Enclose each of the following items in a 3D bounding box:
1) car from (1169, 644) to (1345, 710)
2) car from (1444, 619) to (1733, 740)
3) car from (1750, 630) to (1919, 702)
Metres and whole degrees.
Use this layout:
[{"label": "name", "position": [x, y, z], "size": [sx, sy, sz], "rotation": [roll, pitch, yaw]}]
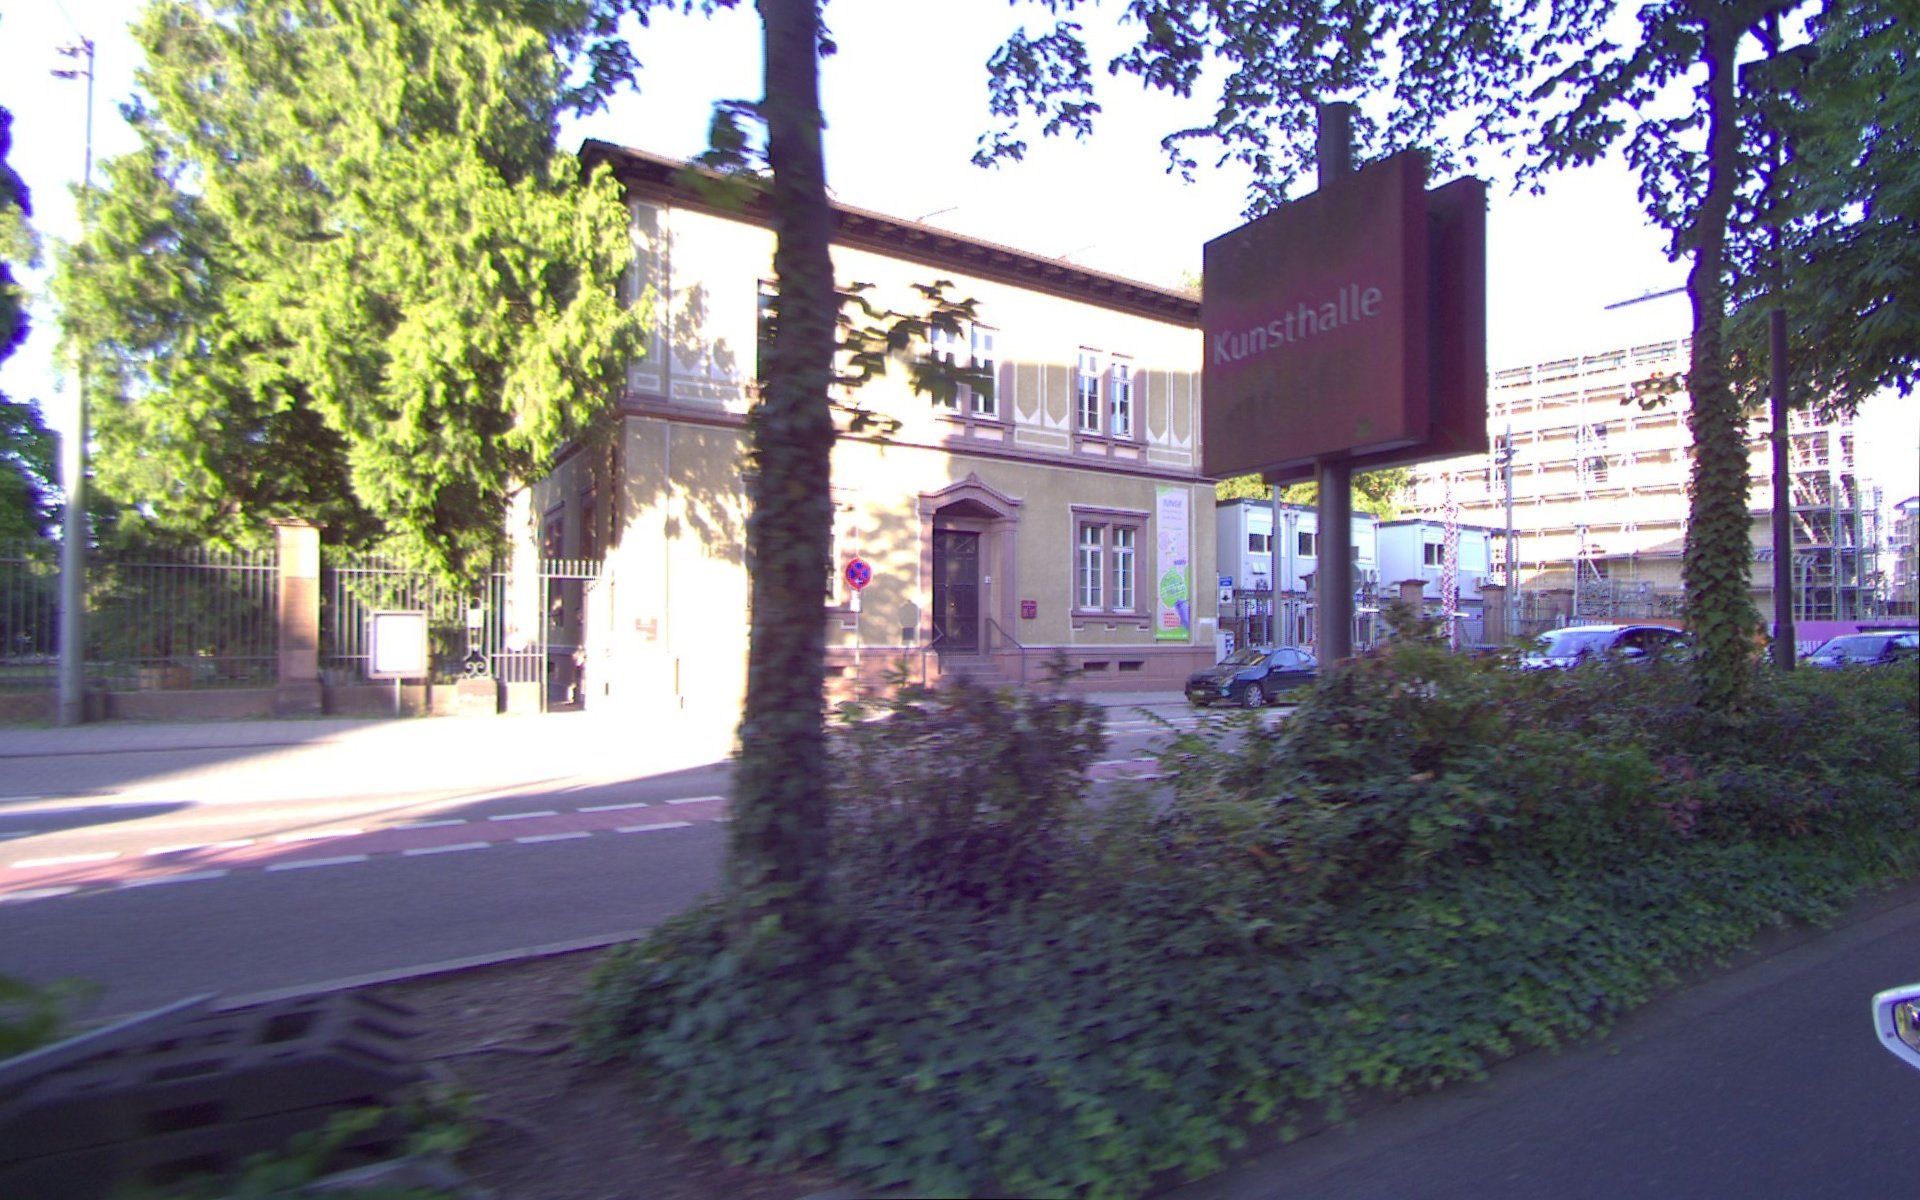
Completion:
[{"label": "car", "position": [6.714, 1.685, 22.602], "size": [3.844, 1.368, 1.671], "rotation": [1, -3, -32]}, {"label": "car", "position": [9.999, 1.196, 15.939], "size": [4.497, 1.696, 1.836], "rotation": [1, -3, -27]}, {"label": "car", "position": [20.857, 1.518, 23.804], "size": [4.122, 1.571, 1.836], "rotation": [1, -3, -28]}]
